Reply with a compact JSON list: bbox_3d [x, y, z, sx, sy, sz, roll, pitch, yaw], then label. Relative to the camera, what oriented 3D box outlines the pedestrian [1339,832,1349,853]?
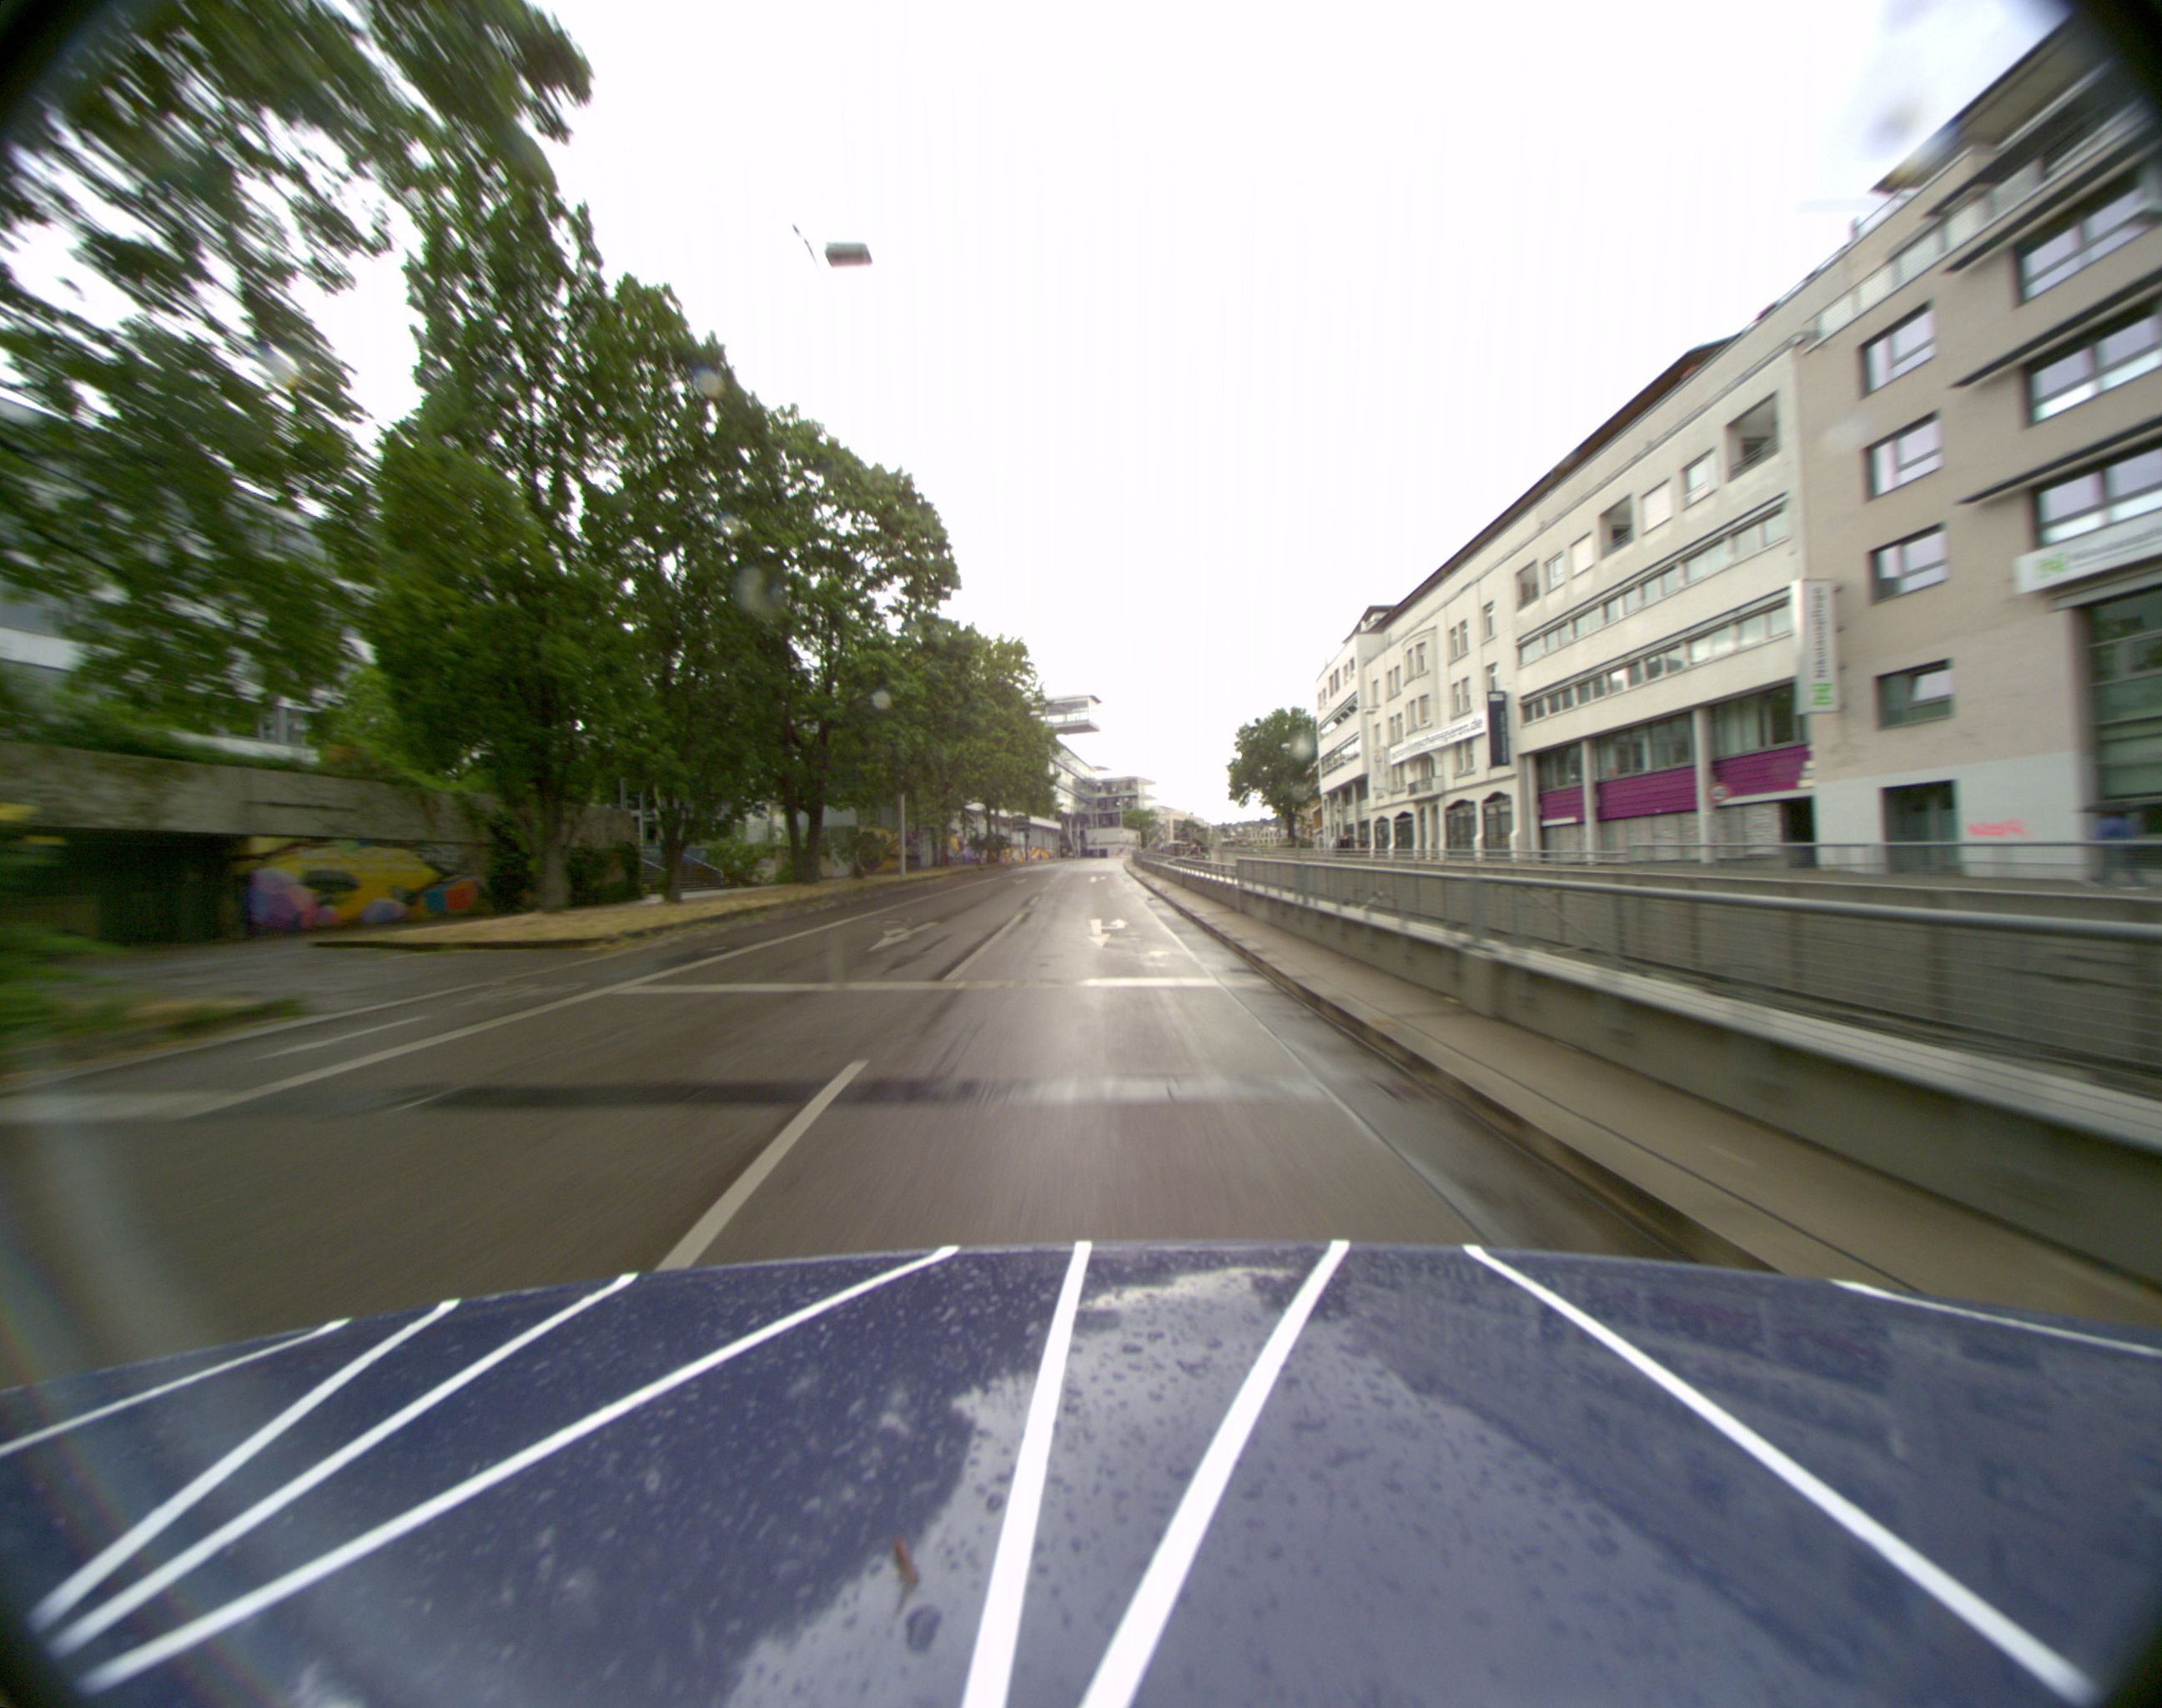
[{"bbox_3d":[22.685,-0.957,65.555,0.547,1.792,0.470,-3,1,-7],"label":"pedestrian"}]

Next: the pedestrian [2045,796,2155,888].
[{"bbox_3d":[21.394,-0.254,15.980,0.859,1.827,1.059,-3,1,1],"label":"pedestrian"}]

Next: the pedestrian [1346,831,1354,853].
[{"bbox_3d":[22.777,-1.021,64.293,0.470,1.792,0.547,-3,1,3],"label":"pedestrian"}]
